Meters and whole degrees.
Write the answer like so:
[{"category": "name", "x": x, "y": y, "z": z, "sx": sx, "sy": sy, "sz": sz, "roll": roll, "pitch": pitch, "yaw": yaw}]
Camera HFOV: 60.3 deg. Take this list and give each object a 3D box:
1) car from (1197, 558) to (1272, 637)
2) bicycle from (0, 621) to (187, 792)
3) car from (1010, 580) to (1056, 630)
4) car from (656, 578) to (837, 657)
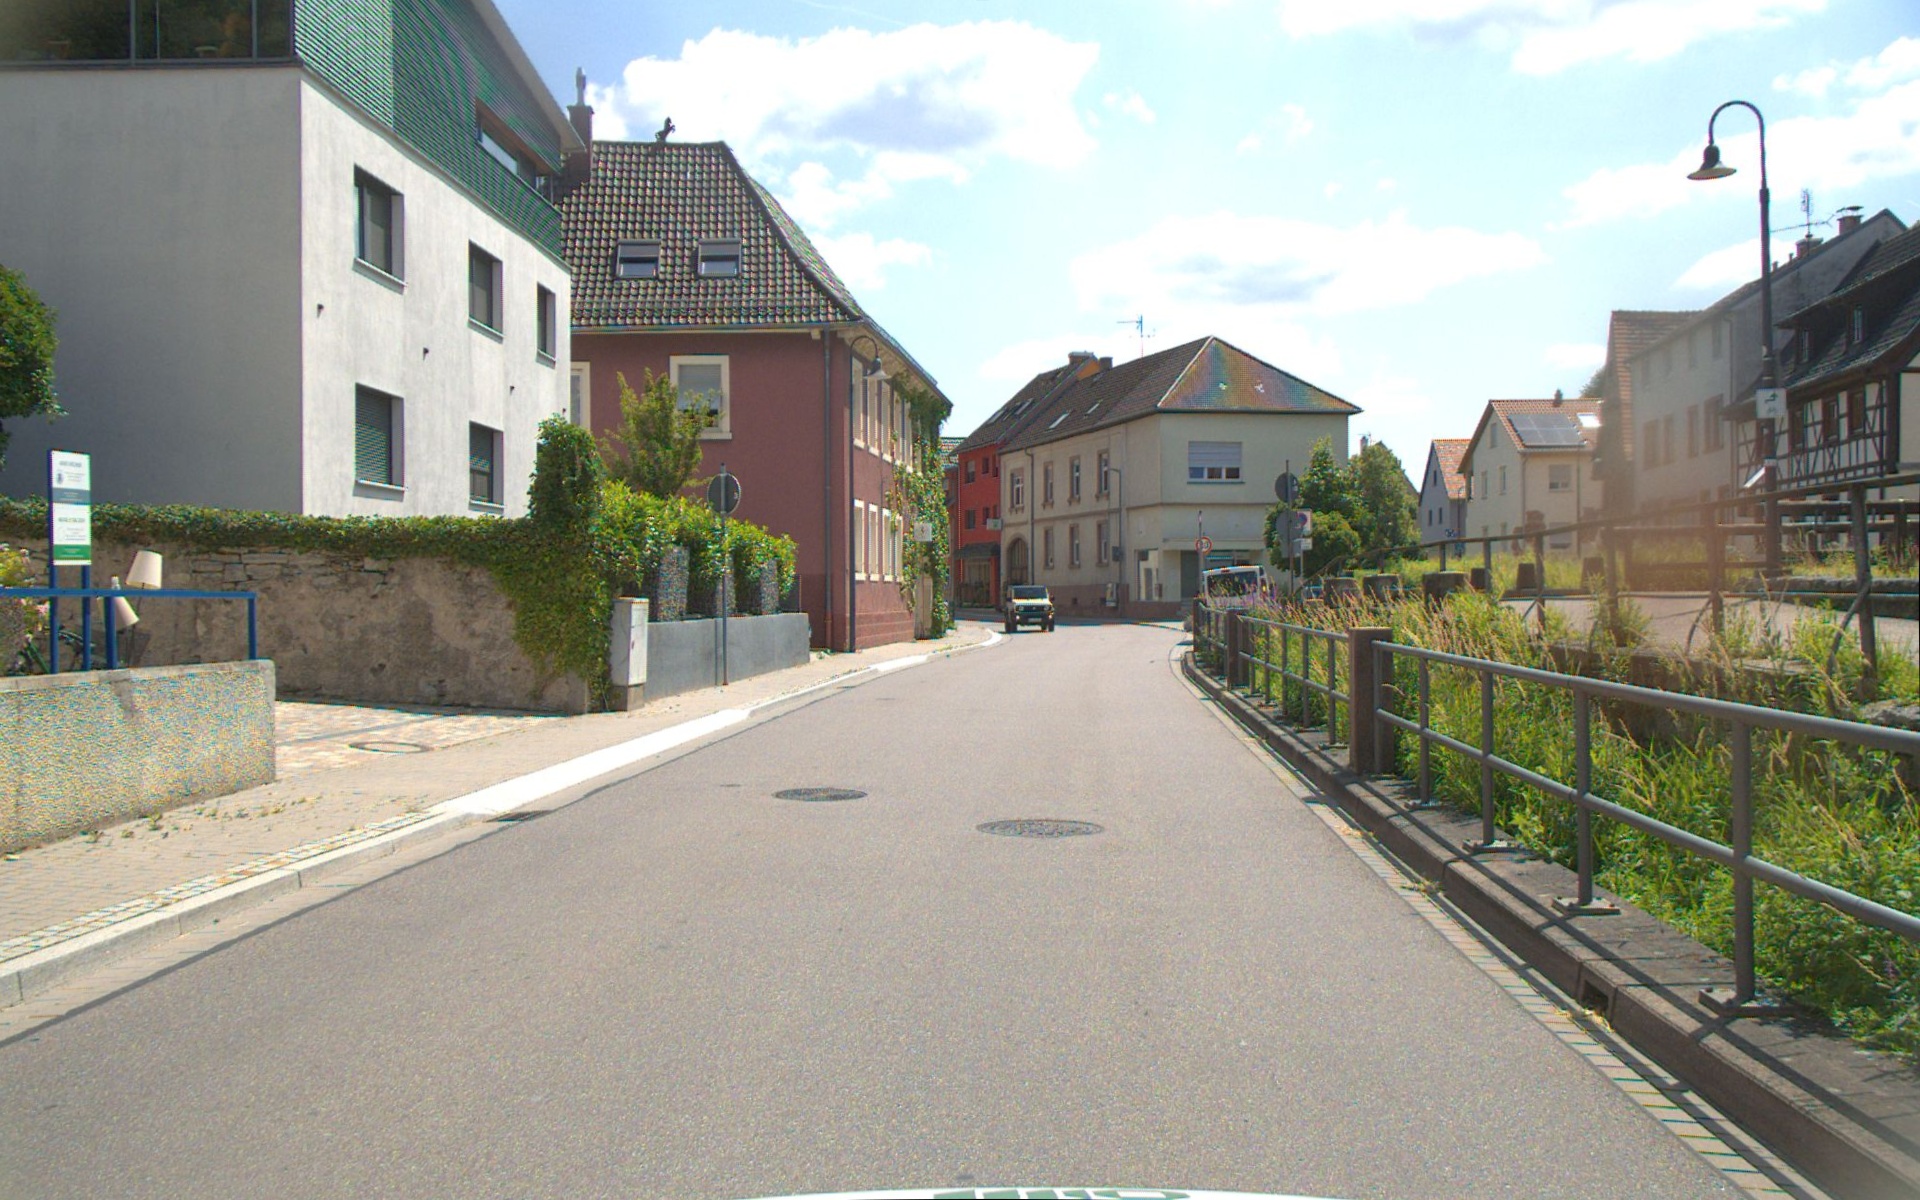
[{"category": "car", "x": 7.524, "y": -0.072, "z": 45.321, "sx": 1.857, "sy": 2.015, "sz": 3.116, "roll": -3, "pitch": 0, "yaw": 10}, {"category": "bicycle", "x": -5.784, "y": 0.661, "z": 10.805, "sx": 0.497, "sy": 0.989, "sz": 1.540, "roll": 5, "pitch": -1, "yaw": 7}, {"category": "car", "x": 2.725, "y": 0.181, "z": 61.607, "sx": 1.588, "sy": 1.749, "sz": 3.474, "roll": -3, "pitch": 0, "yaw": 3}, {"category": "car", "x": -4.572, "y": 0.349, "z": 35.639, "sx": 3.490, "sy": 1.430, "sz": 1.653, "roll": 4, "pitch": 1, "yaw": 6}]
